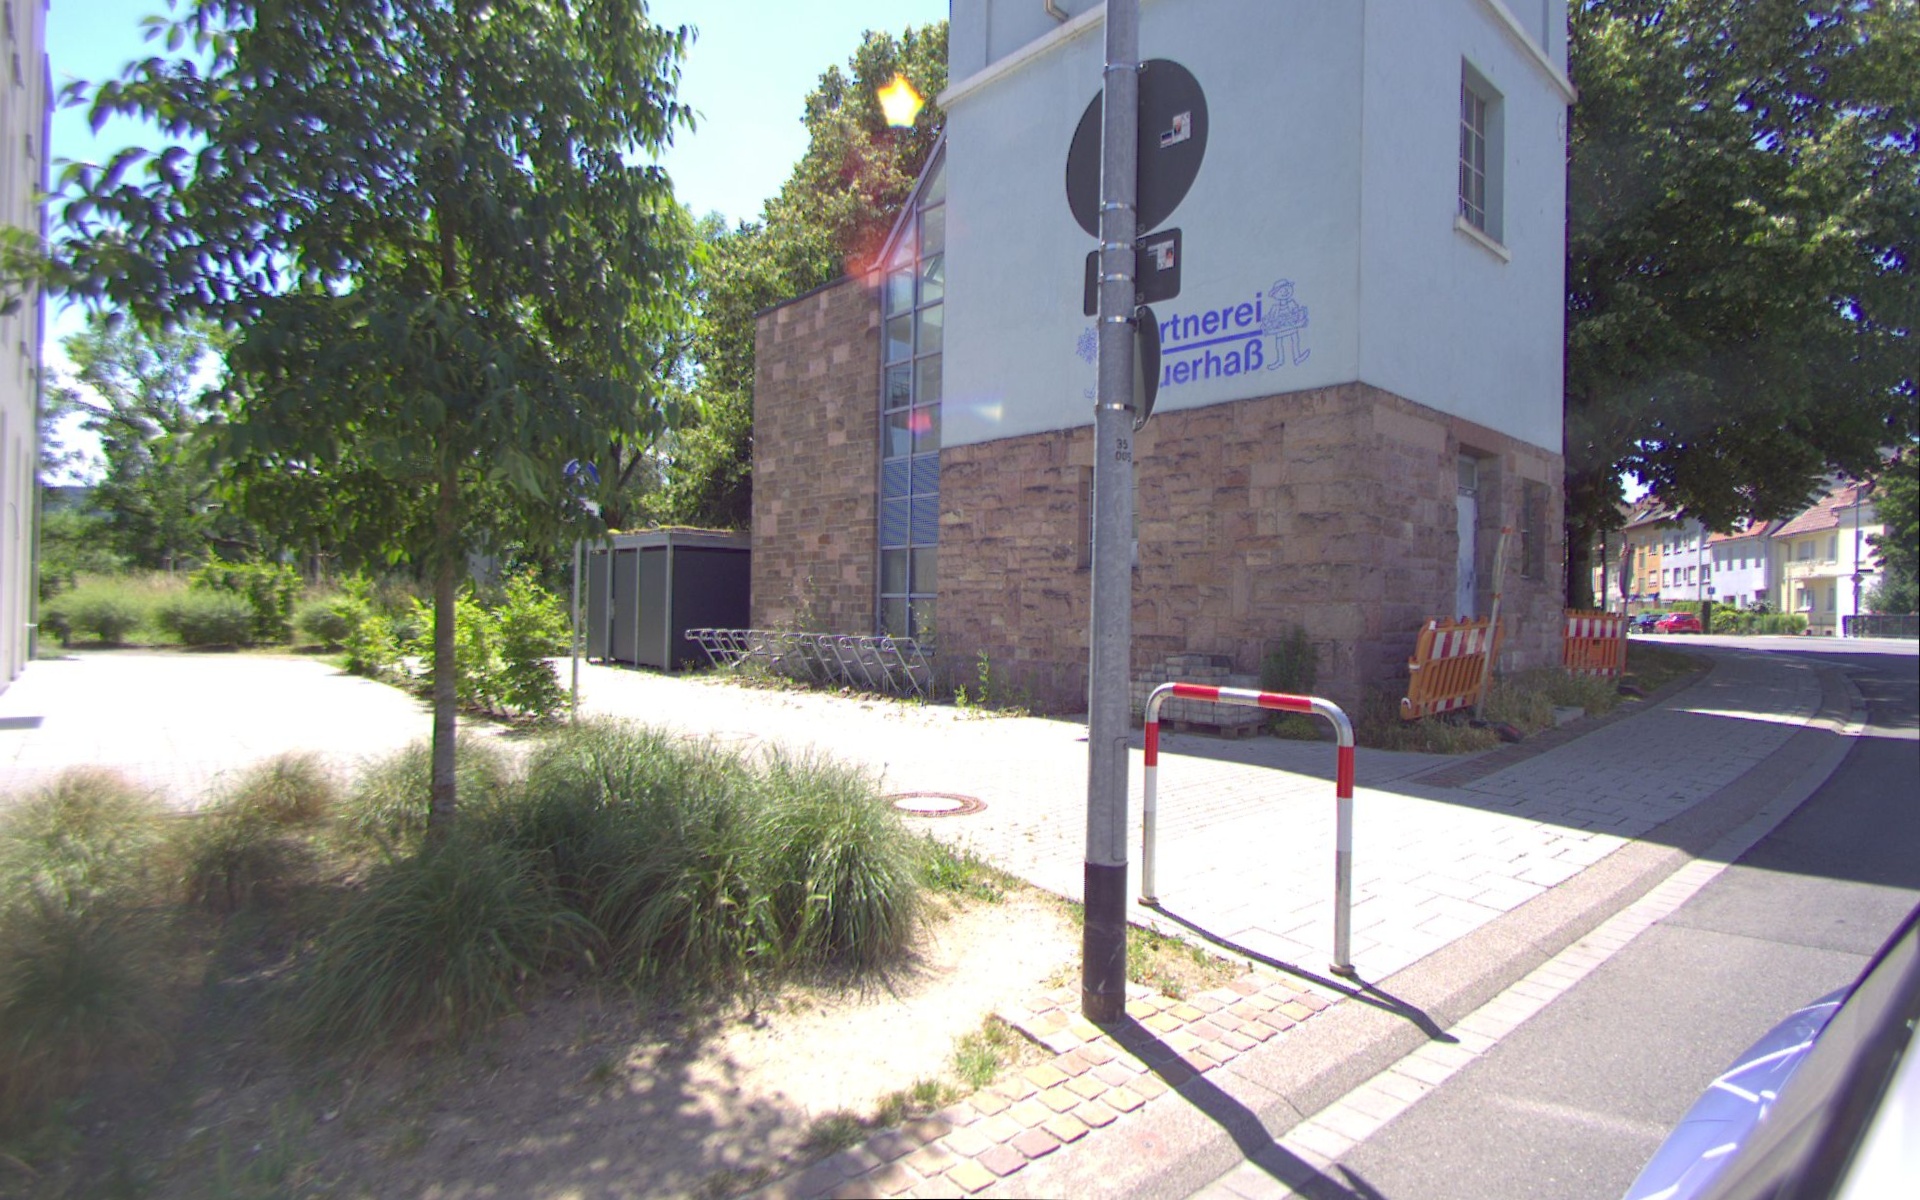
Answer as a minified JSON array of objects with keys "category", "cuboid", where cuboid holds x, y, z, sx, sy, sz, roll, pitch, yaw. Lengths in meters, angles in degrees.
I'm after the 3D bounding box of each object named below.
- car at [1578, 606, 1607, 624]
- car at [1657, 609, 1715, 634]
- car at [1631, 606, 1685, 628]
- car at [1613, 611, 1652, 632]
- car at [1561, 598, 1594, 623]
[{"category":"car","cuboid":[59.024,1.435,94.499,2.075,1.635,5.051,-1,-2,31]},{"category":"car","cuboid":[46.318,1.348,64.647,1.861,1.499,4.702,-2,-2,22]},{"category":"car","cuboid":[48.394,1.196,70.247,1.847,1.480,5.268,-1,-2,21]},{"category":"car","cuboid":[50.347,1.621,75.830,1.775,1.478,4.159,-2,-2,25]},{"category":"car","cuboid":[63.710,1.070,104.526,2.103,2.481,6.064,-1,-1,25]}]
